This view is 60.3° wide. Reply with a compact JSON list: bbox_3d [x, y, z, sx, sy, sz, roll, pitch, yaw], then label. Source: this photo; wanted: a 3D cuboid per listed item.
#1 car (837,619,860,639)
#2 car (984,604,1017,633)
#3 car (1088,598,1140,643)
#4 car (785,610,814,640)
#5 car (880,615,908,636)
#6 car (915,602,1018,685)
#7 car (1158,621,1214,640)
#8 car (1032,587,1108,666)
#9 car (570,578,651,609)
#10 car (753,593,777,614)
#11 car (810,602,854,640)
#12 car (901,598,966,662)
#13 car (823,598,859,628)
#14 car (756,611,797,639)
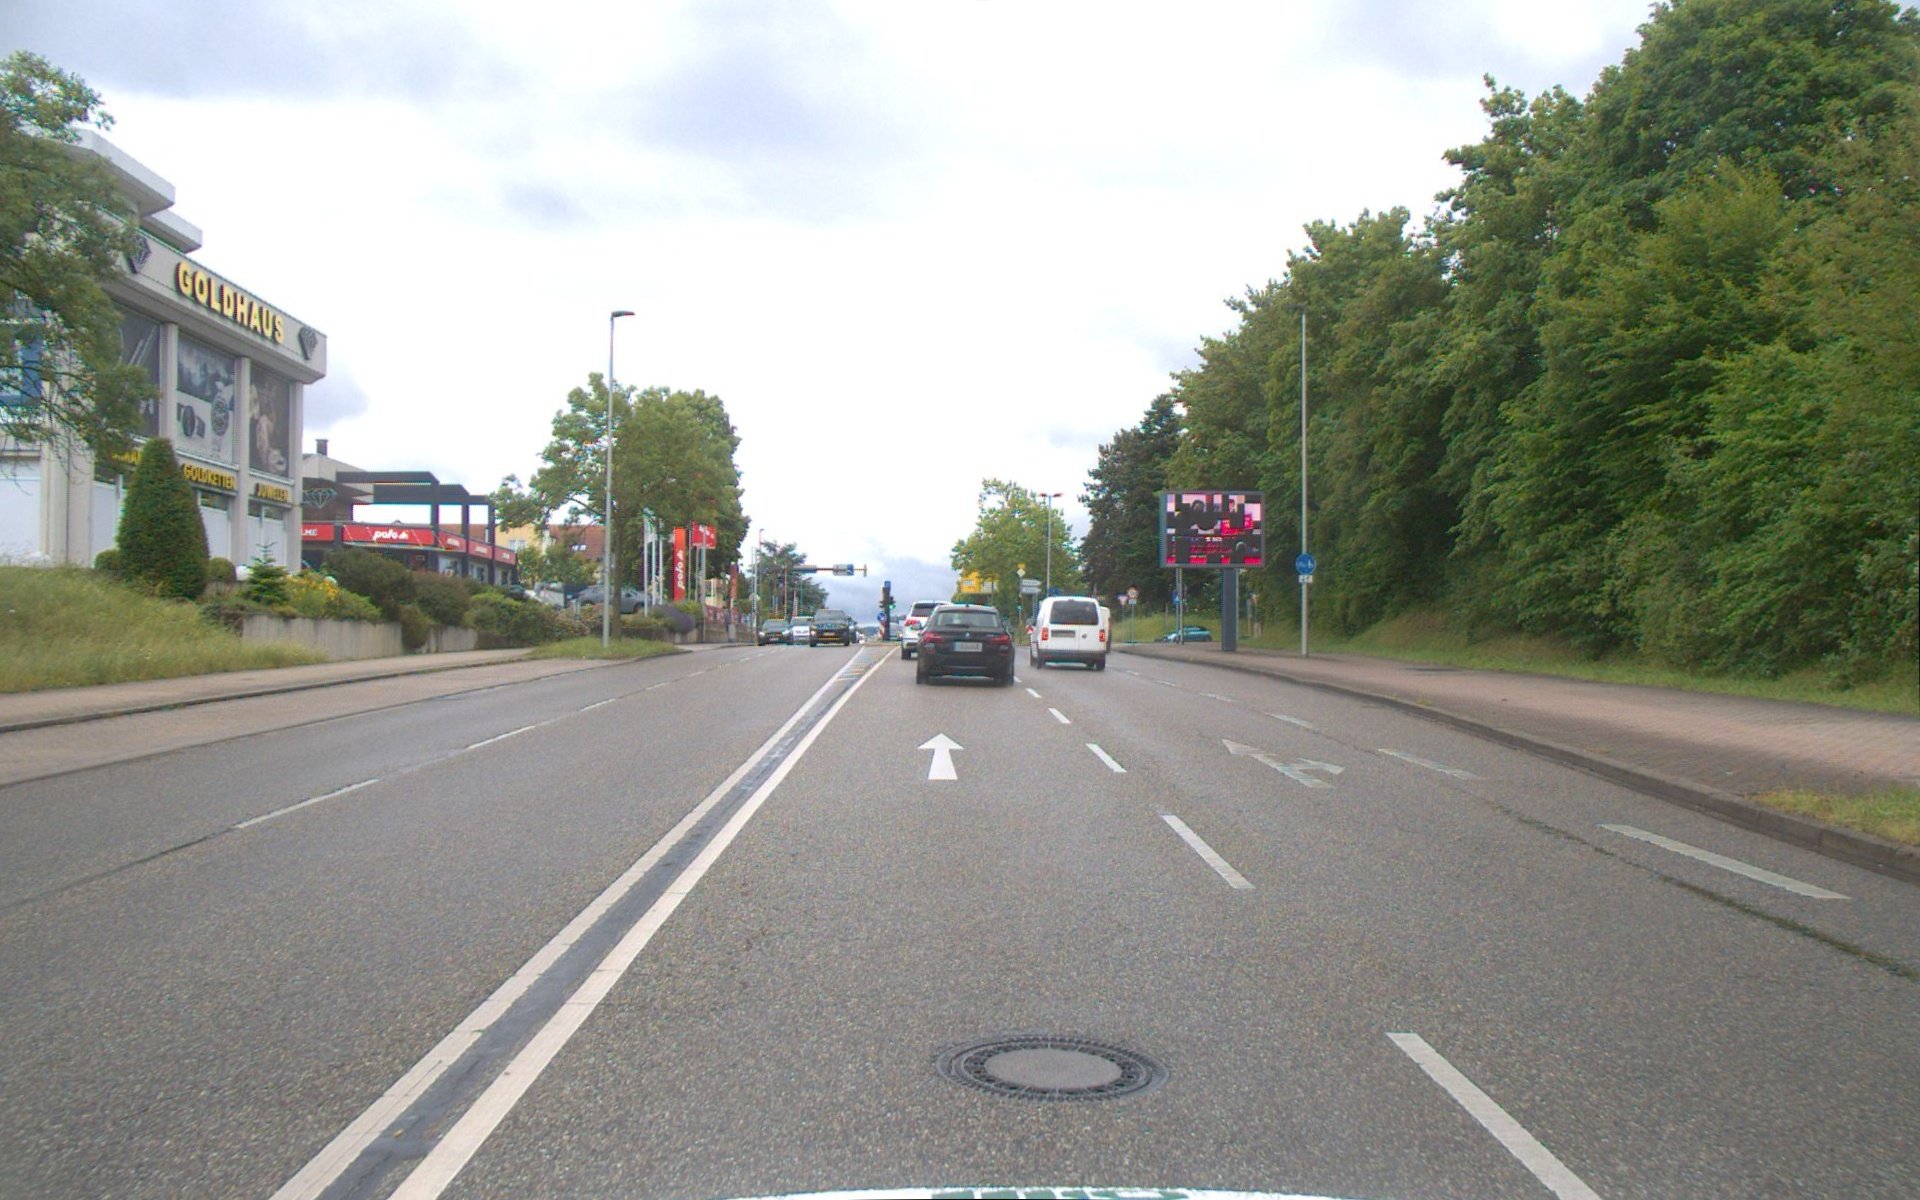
[{"bbox_3d":[-8.186,2.123,122.004,1.634,1.422,3.997,-1,-1,-4],"label":"car"},{"bbox_3d":[2.055,0.947,84.329,1.567,1.396,3.680,-1,0,0],"label":"car"},{"bbox_3d":[6.241,0.819,67.289,1.777,1.738,3.946,0,0,1],"label":"car"},{"bbox_3d":[-11.107,1.716,114.739,1.760,2.017,4.894,-1,0,-4],"label":"car"},{"bbox_3d":[-4.756,1.858,118.274,1.857,1.481,4.093,0,-1,-4],"label":"car"},{"bbox_3d":[0.158,0.780,31.532,1.816,1.444,3.957,1,0,1],"label":"car"},{"bbox_3d":[17.074,2.307,125.095,3.927,1.316,1.600,-1,0,-20],"label":"car"},{"bbox_3d":[2.792,0.651,42.618,1.705,1.902,3.946,1,0,1],"label":"car"},{"bbox_3d":[-17.036,-0.316,80.837,3.755,1.508,1.738,0,-1,-9],"label":"car"},{"bbox_3d":[-16.174,0.284,137.354,1.716,1.639,4.530,-2,0,-3],"label":"car"},{"bbox_3d":[-5.747,0.909,74.548,1.759,1.611,4.196,-1,0,-2],"label":"car"},{"bbox_3d":[-0.731,0.834,47.899,1.692,1.741,3.383,1,0,2],"label":"car"},{"bbox_3d":[-6.770,0.730,94.488,1.786,1.635,4.282,-1,0,-1],"label":"car"},{"bbox_3d":[-10.063,1.366,90.904,1.756,1.426,4.299,-1,0,-1],"label":"car"}]
